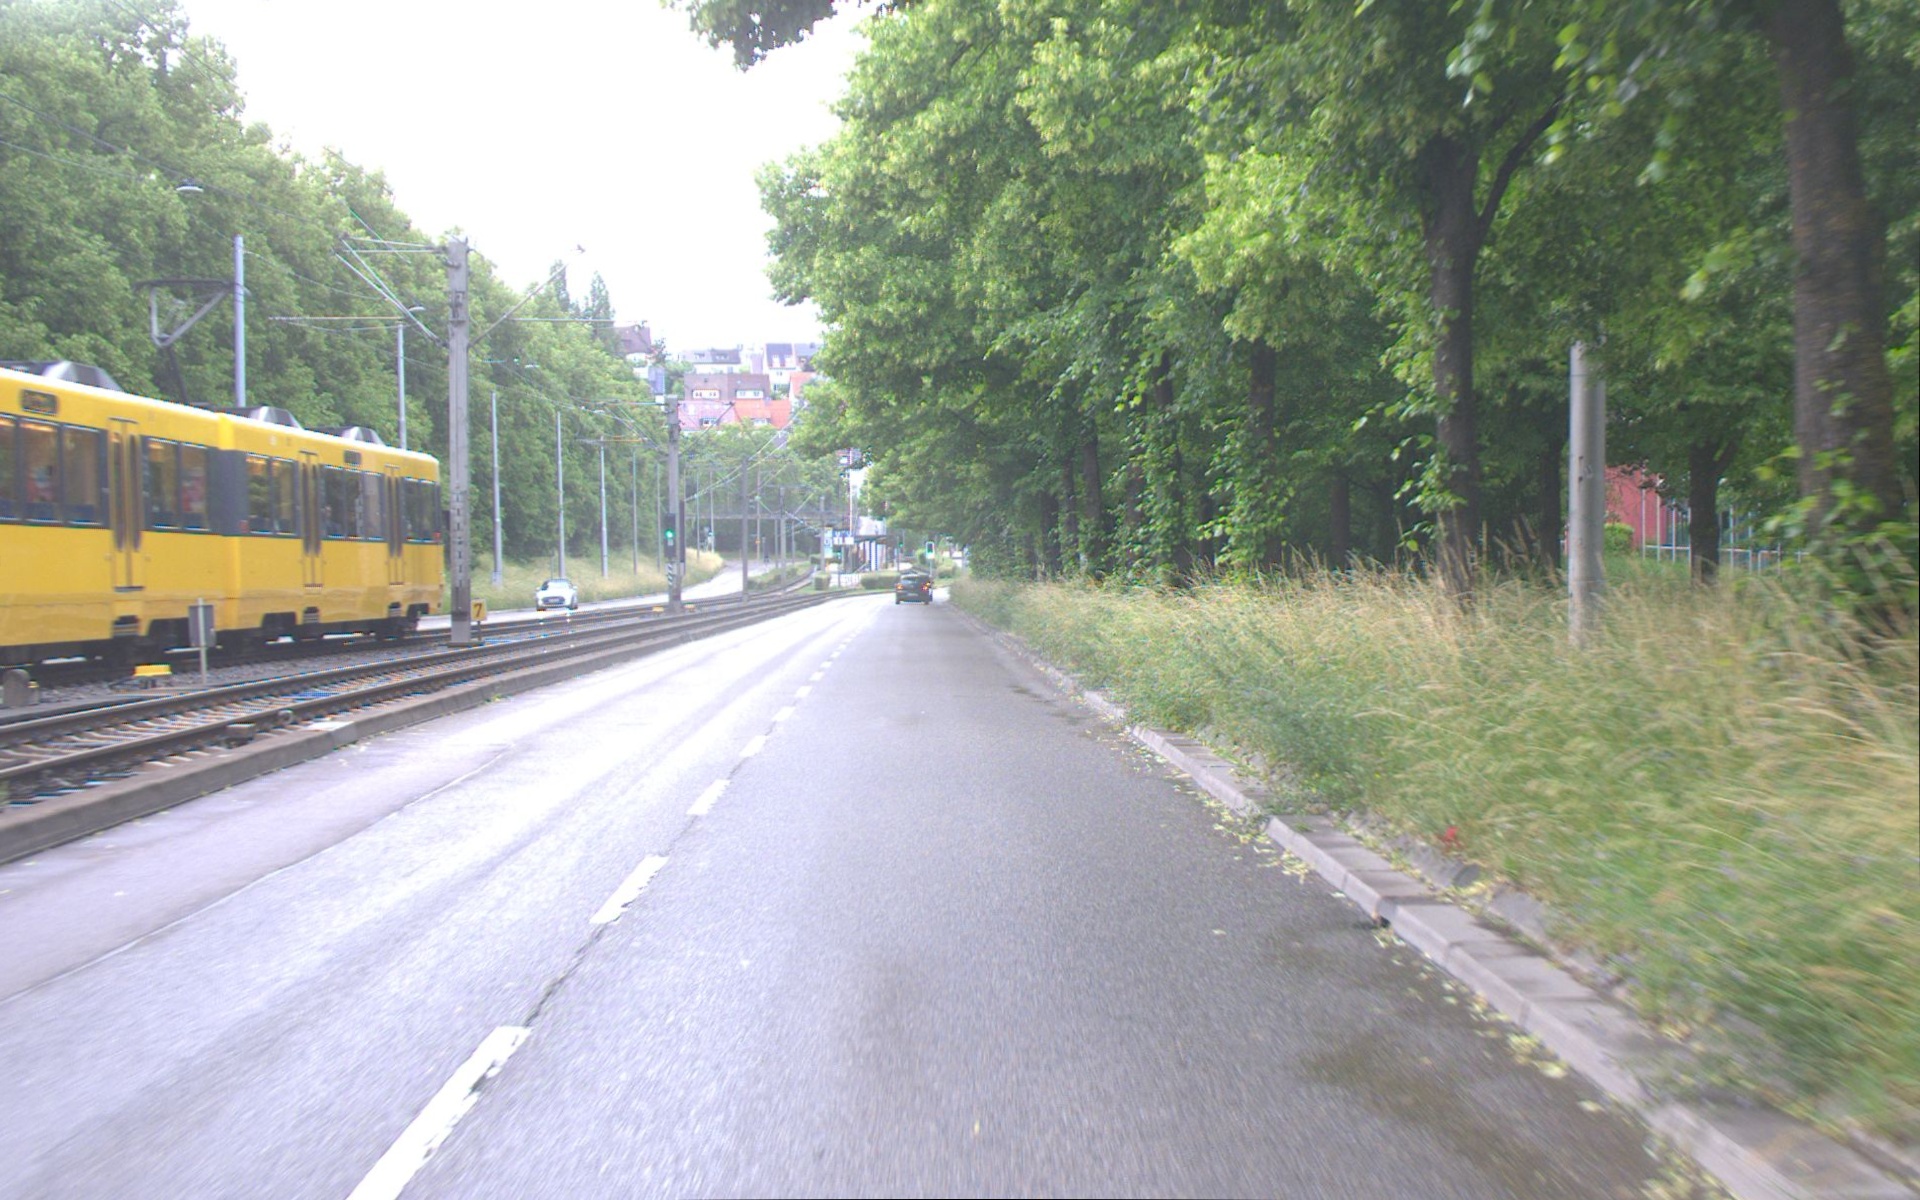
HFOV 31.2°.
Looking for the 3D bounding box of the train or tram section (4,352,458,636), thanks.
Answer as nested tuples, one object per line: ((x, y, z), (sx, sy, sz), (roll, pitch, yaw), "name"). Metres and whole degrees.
((-11.192, -1.615, 55.840), (2.967, 3.798, 19.520), (0, 1, 1), "train or tram section")

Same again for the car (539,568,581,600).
((-18.687, -0.764, 160.523), (1.476, 1.431, 3.909), (-2, 1, 0), "car")

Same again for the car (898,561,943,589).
((-1.997, -1.240, 172.214), (2.194, 1.325, 4.000), (0, 1, -1), "car")

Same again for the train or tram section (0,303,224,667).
((-11.480, -1.215, 36.537), (2.967, 3.798, 19.099), (0, 1, 1), "train or tram section")
